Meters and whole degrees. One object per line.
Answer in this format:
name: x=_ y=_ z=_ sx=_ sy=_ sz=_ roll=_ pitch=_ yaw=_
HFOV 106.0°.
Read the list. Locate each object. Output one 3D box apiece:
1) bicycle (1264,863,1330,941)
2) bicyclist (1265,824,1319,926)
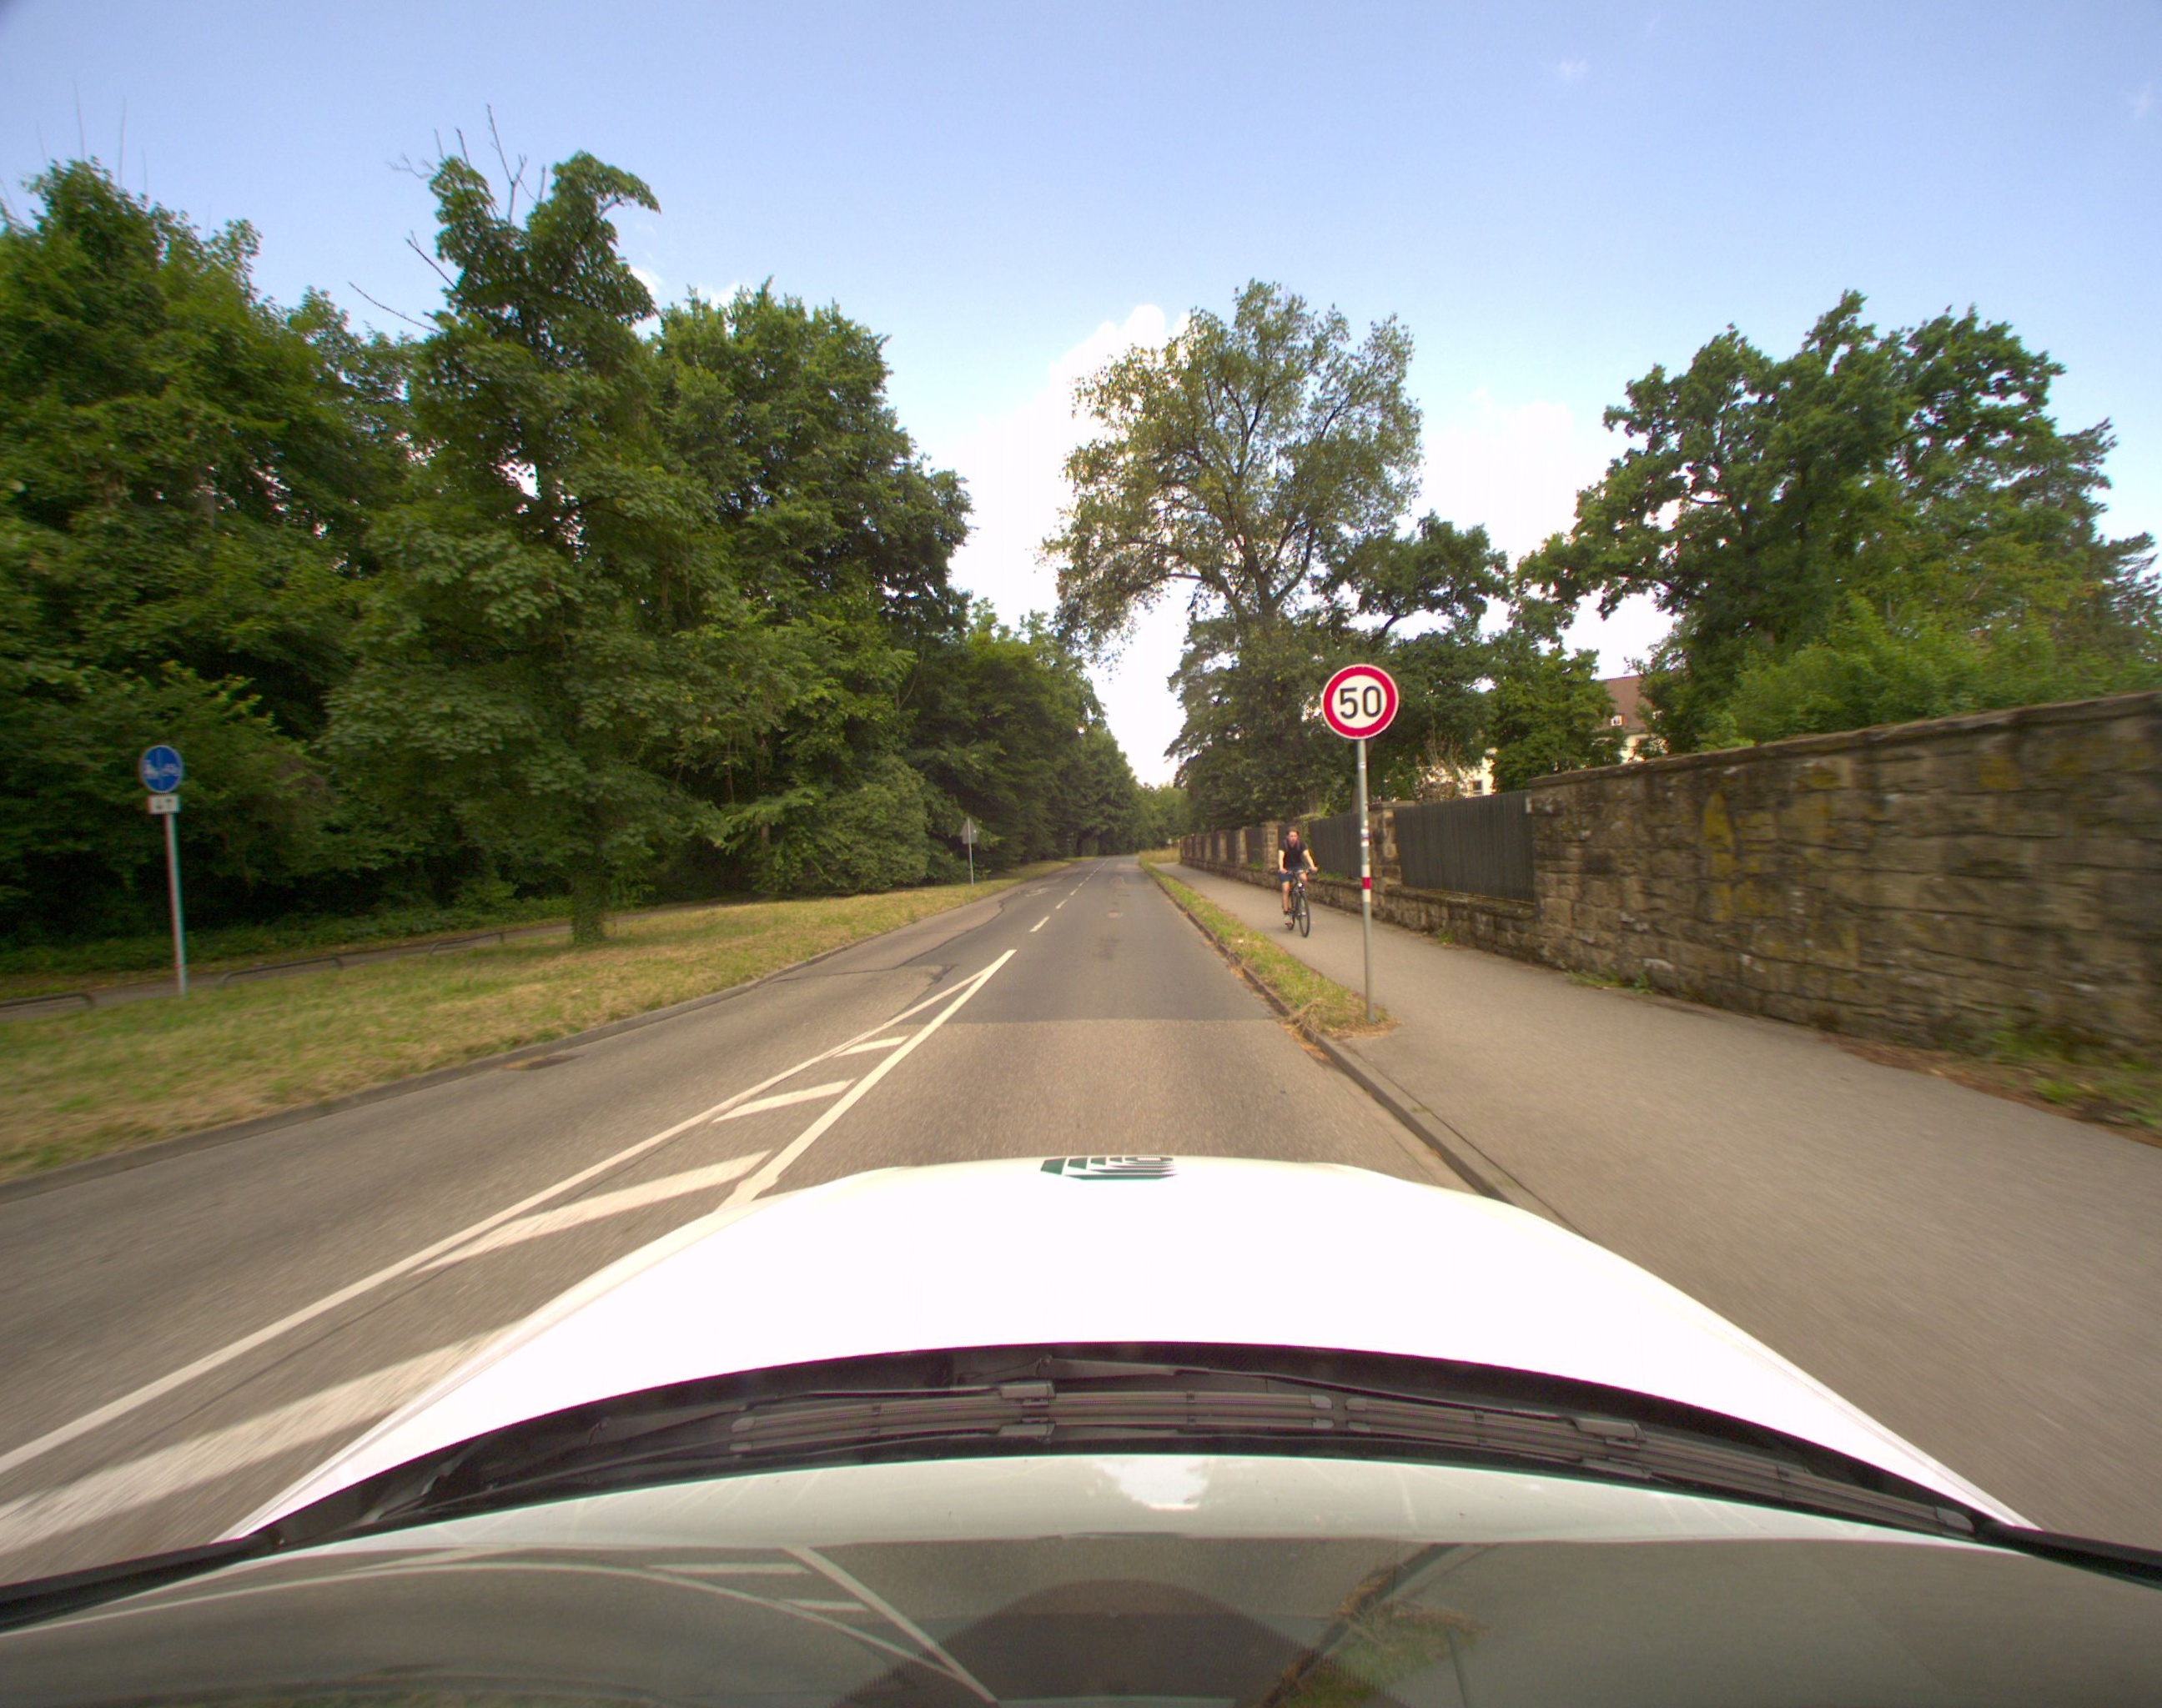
bicycle: x=3.488 y=0.734 z=13.338 sx=0.556 sy=1.072 sz=2.159 roll=-3 pitch=1 yaw=3
bicyclist: x=3.477 y=0.317 z=13.500 sx=0.567 sy=1.588 sz=1.206 roll=-3 pitch=1 yaw=3
